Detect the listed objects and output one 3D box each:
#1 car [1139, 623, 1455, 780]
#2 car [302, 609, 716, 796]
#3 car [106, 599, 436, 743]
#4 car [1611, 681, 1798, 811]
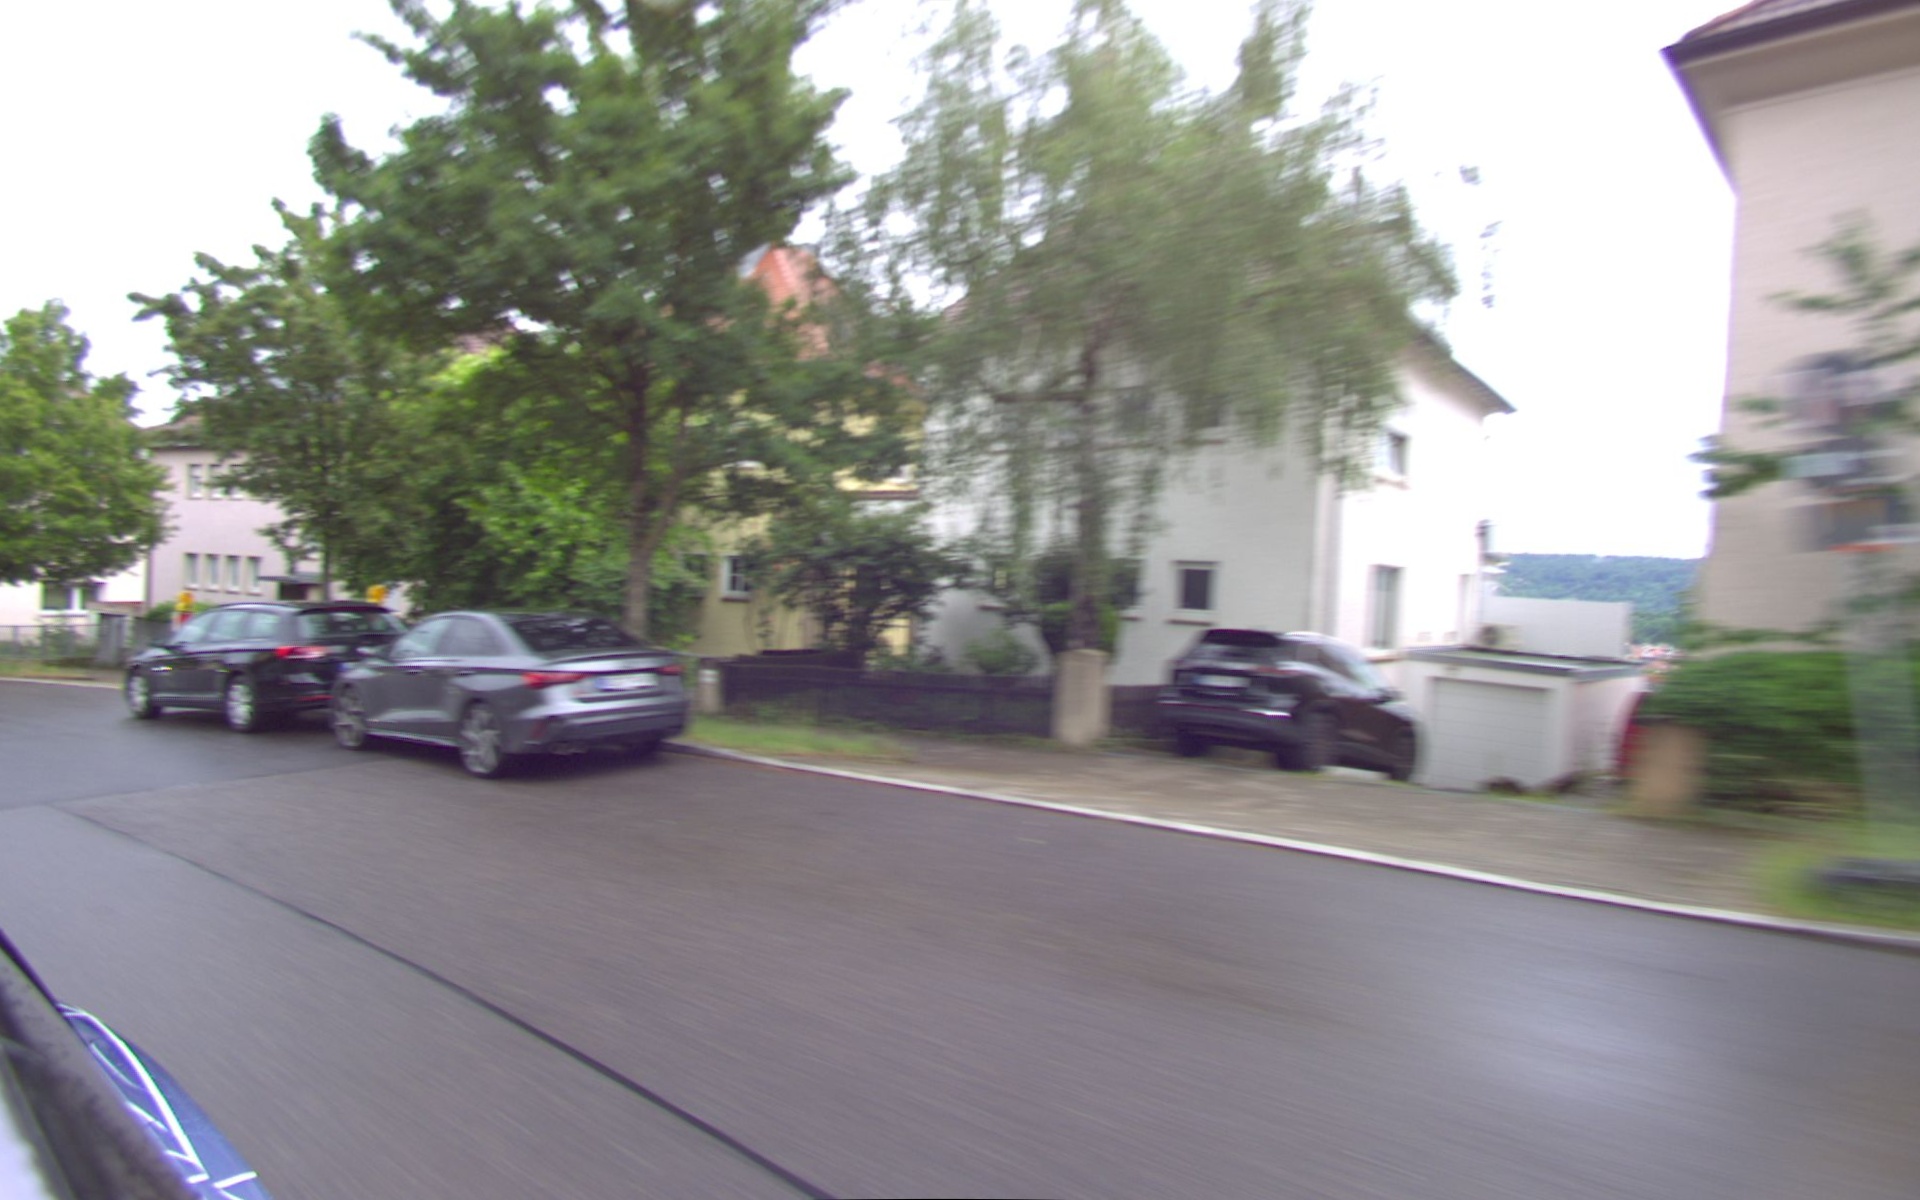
[{"bbox_3d":[4.298,1.313,12.535,4.189,1.516,1.916,11,-8,-43],"label":"car"},{"bbox_3d":[-4.513,0.803,9.813,4.522,1.393,1.691,0,1,37],"label":"car"},{"bbox_3d":[-8.642,0.760,12.579,4.515,1.495,1.719,0,0,32],"label":"car"},{"bbox_3d":[13.024,2.445,17.619,4.188,1.893,1.915,6,-5,-43],"label":"car"}]
